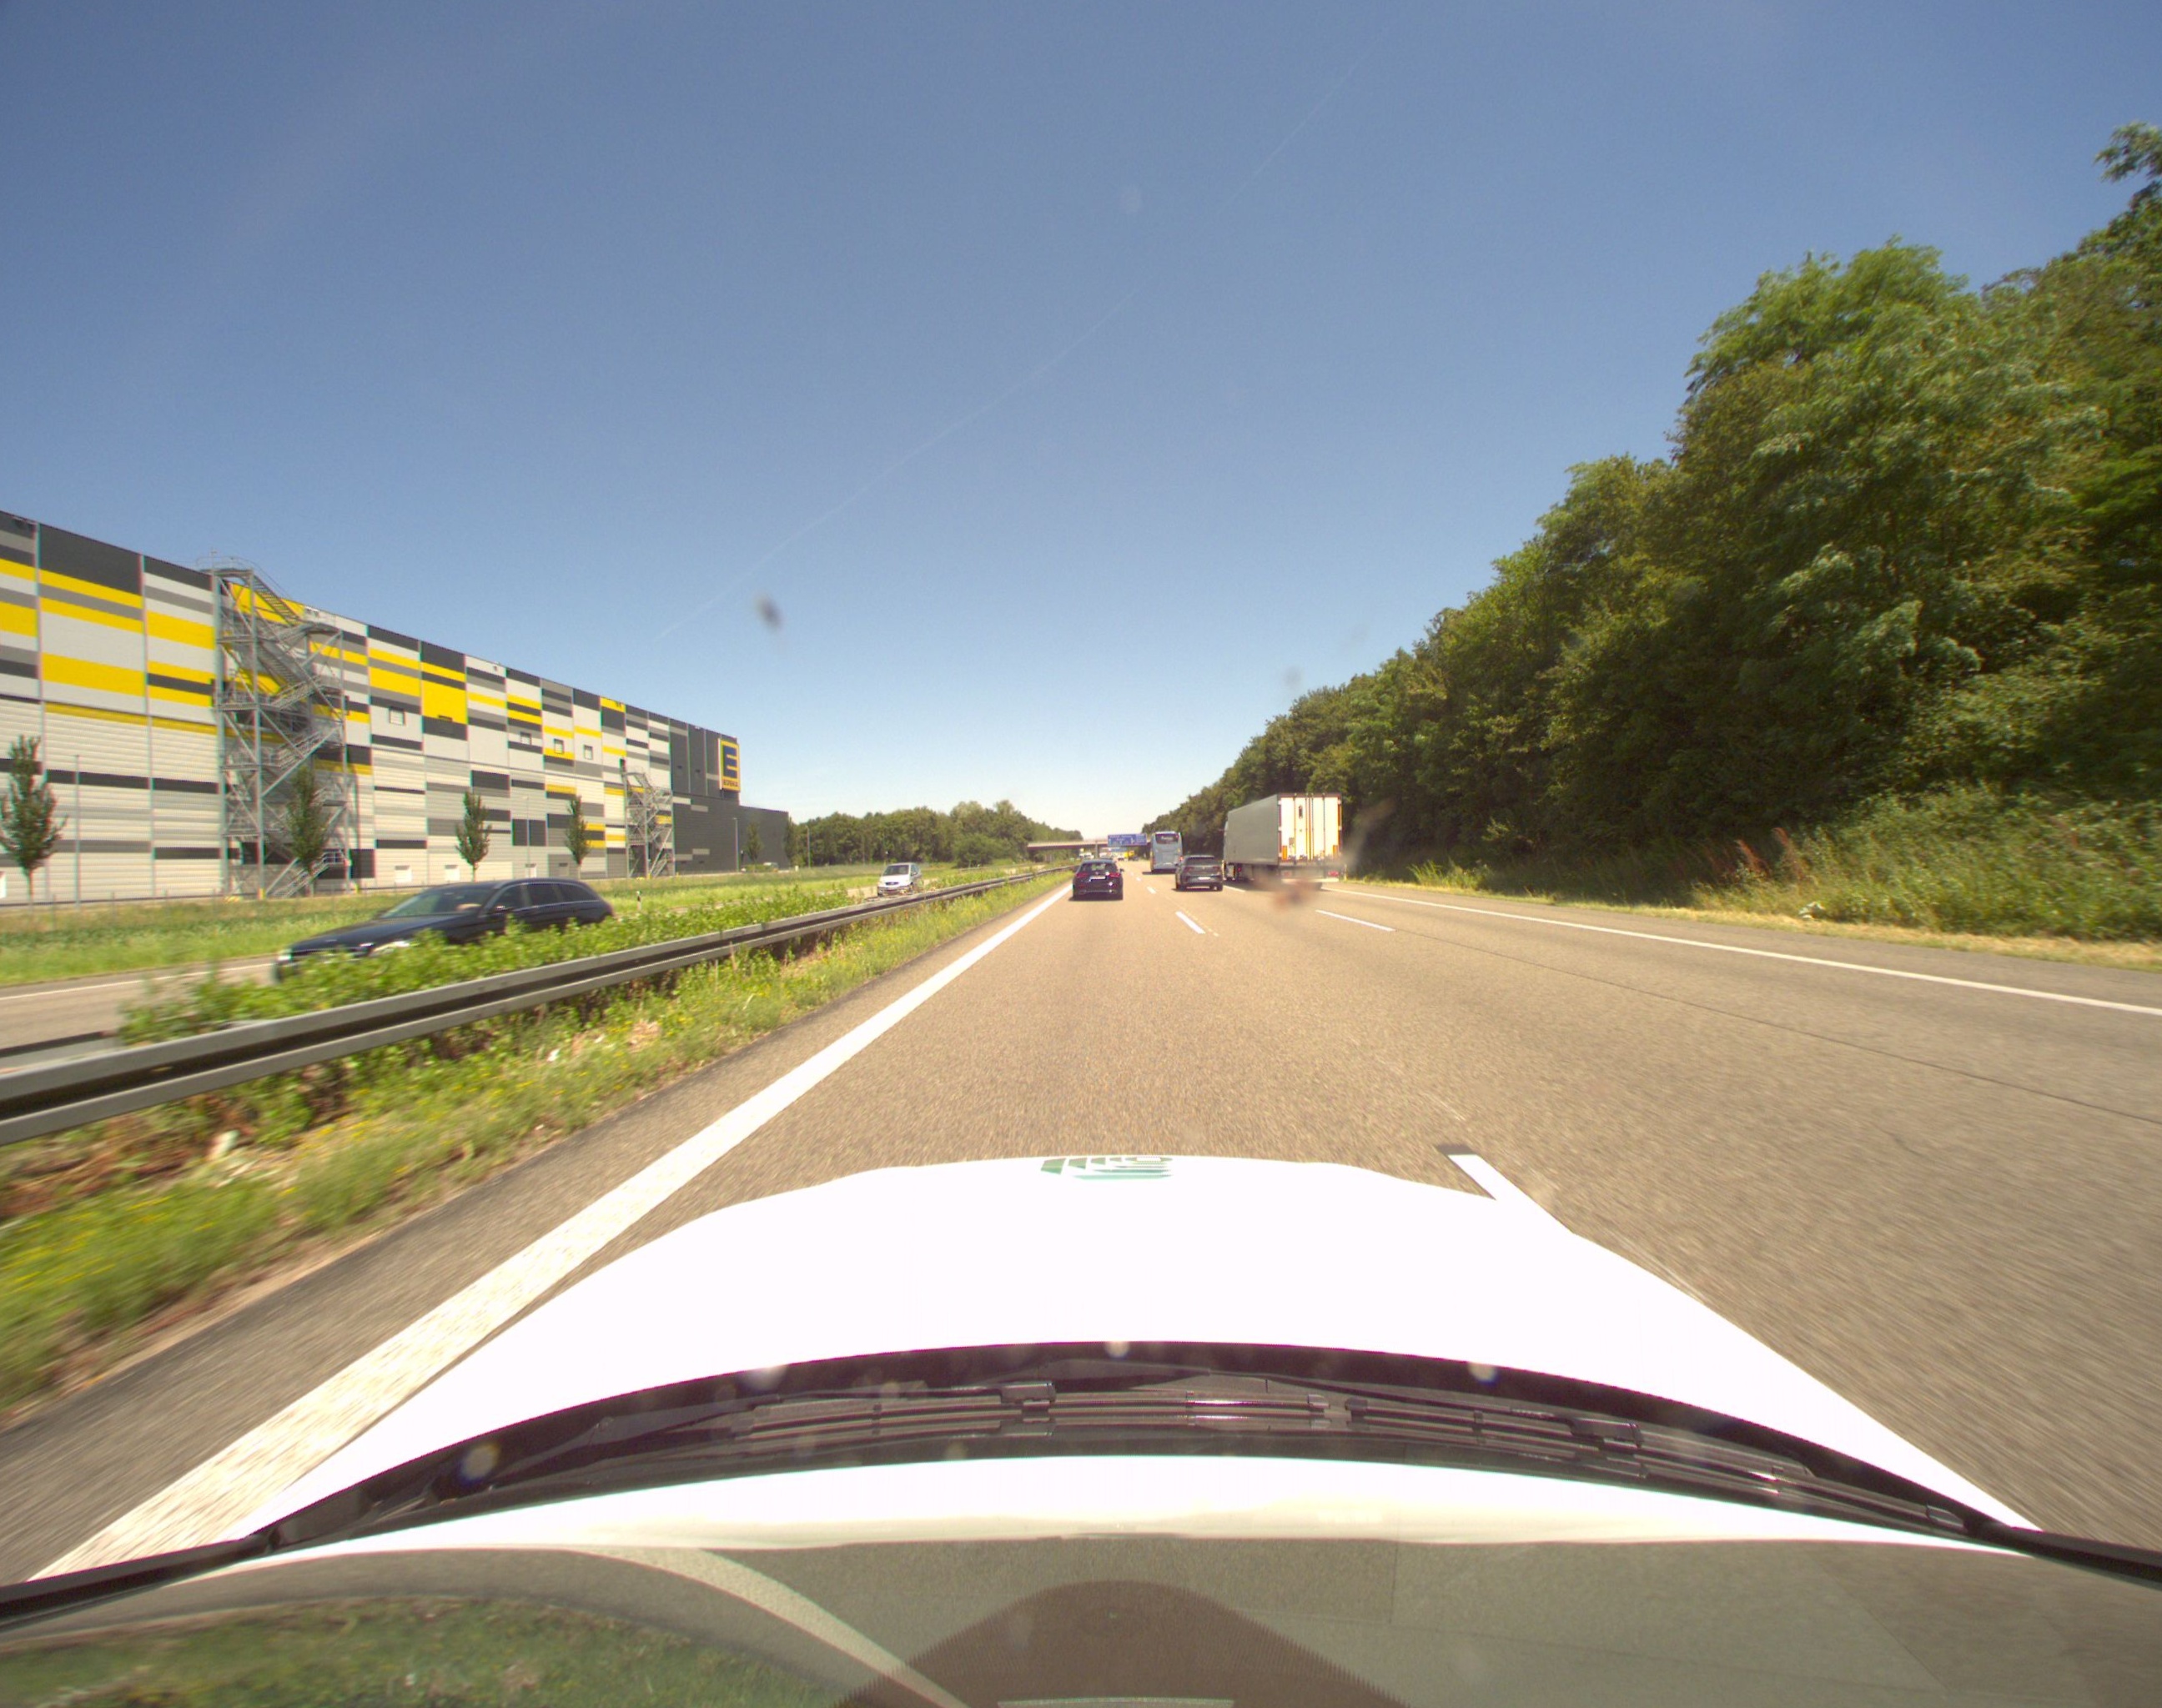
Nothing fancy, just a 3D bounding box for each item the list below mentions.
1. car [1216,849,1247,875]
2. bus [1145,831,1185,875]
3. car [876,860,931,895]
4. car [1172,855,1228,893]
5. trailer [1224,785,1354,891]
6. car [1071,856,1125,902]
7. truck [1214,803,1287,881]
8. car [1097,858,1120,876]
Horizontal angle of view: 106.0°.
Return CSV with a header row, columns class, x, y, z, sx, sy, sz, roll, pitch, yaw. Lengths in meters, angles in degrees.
class,x,y,z,sx,sy,sz,roll,pitch,yaw
car,12.827,0.689,69.606,1.892,2.120,4.242,-1,0,1
bus,7.452,-0.082,73.708,2.791,3.596,12.481,-1,0,2
car,-8.983,1.167,41.540,1.650,1.582,4.337,-3,0,2
car,5.181,0.817,36.045,1.892,1.532,4.761,-1,0,1
trailer,9.540,-0.639,39.592,3.029,4.224,13.838,-1,0,1
car,0.630,0.860,29.818,1.793,1.502,4.242,-1,0,1
truck,9.711,-0.647,47.384,3.037,4.215,6.050,-1,0,1
car,2.416,1.128,71.871,1.892,1.532,4.242,-1,0,1
